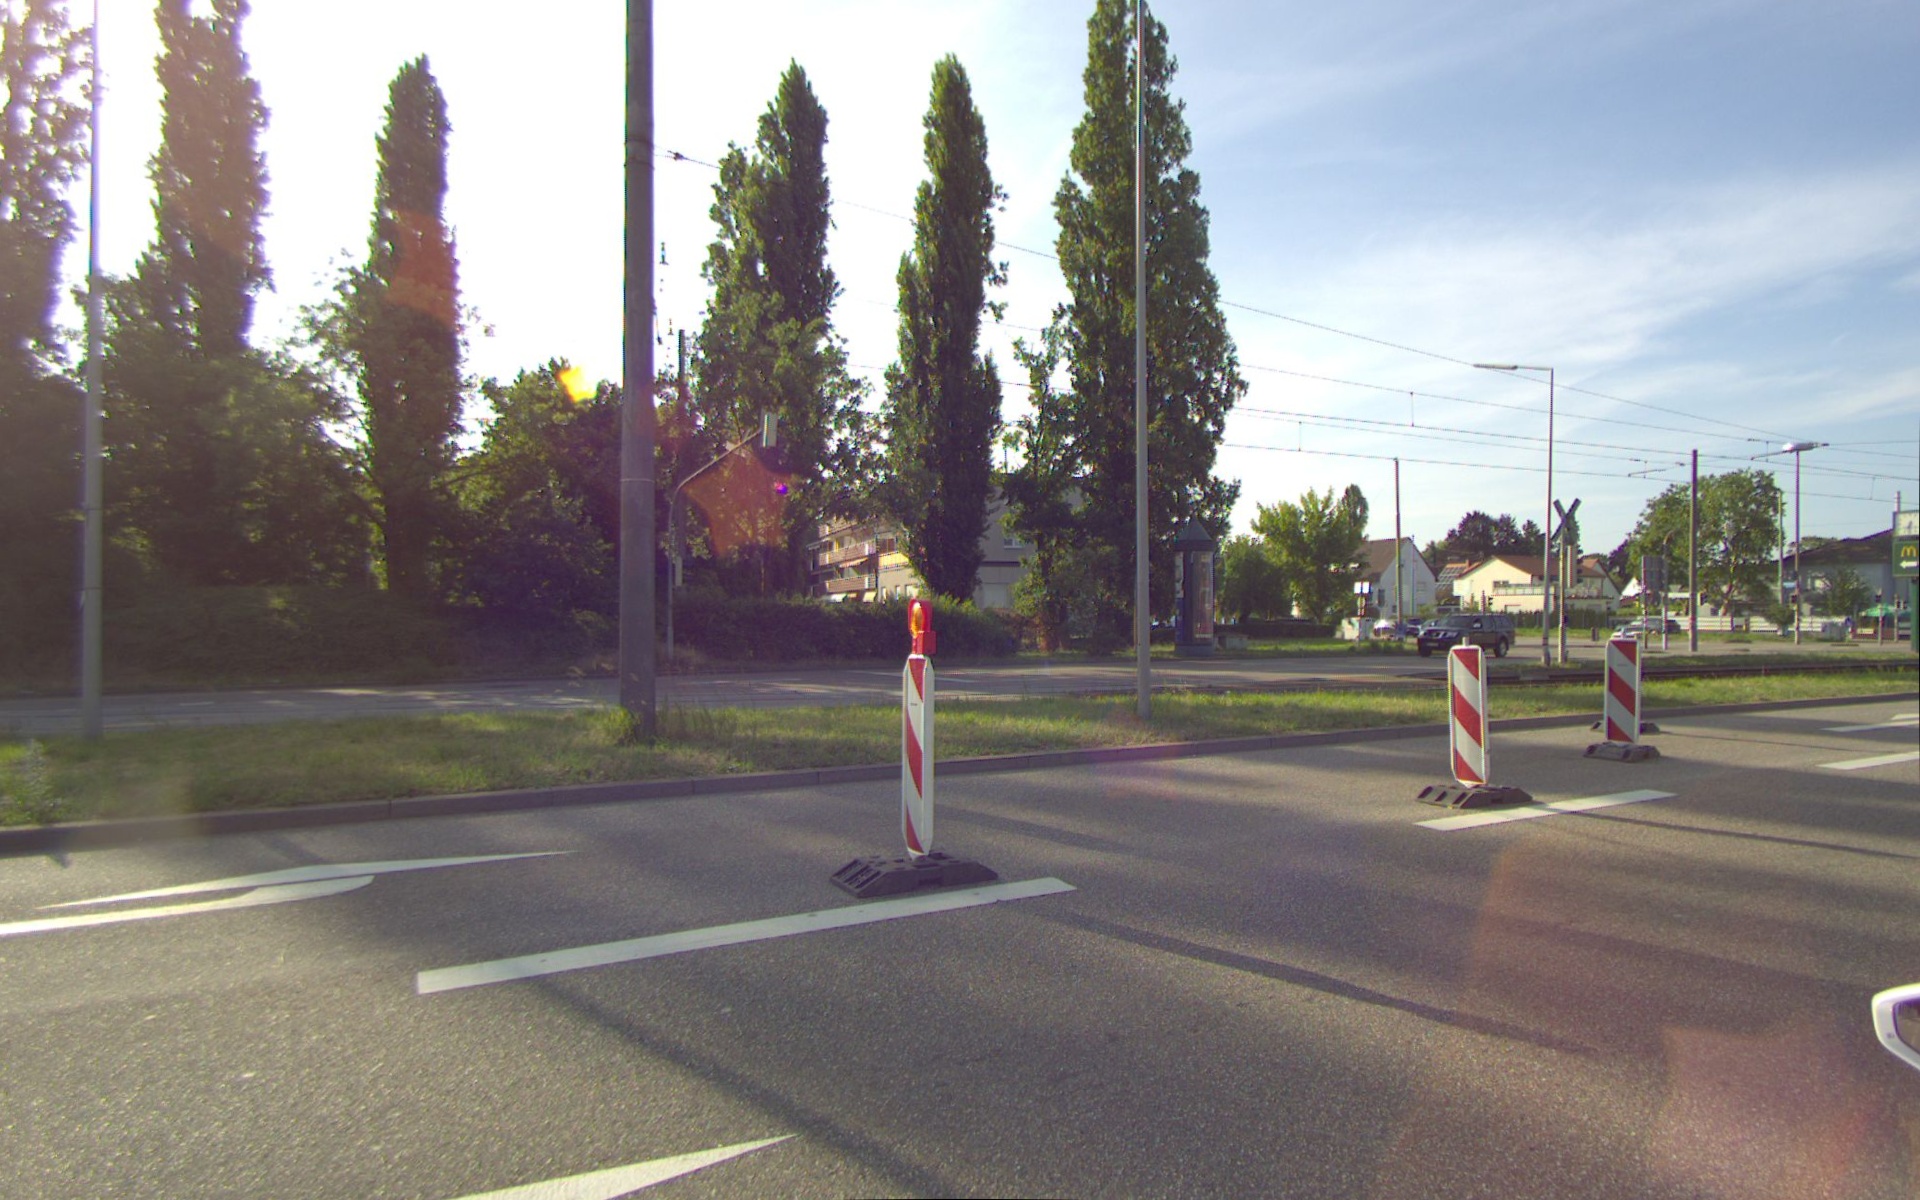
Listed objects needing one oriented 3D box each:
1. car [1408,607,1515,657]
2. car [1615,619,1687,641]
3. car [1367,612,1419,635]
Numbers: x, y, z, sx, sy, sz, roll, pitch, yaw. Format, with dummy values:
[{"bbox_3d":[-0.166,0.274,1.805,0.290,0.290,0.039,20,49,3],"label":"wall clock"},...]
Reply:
[{"bbox_3d":[21.659,1.343,43.293,5.308,2.040,1.979,1,-1,-37],"label":"car"},{"bbox_3d":[50.651,2.174,73.722,1.969,1.506,3.983,0,-1,-19],"label":"car"},{"bbox_3d":[35.262,1.884,81.977,1.498,1.816,3.977,0,-1,-23],"label":"car"}]
